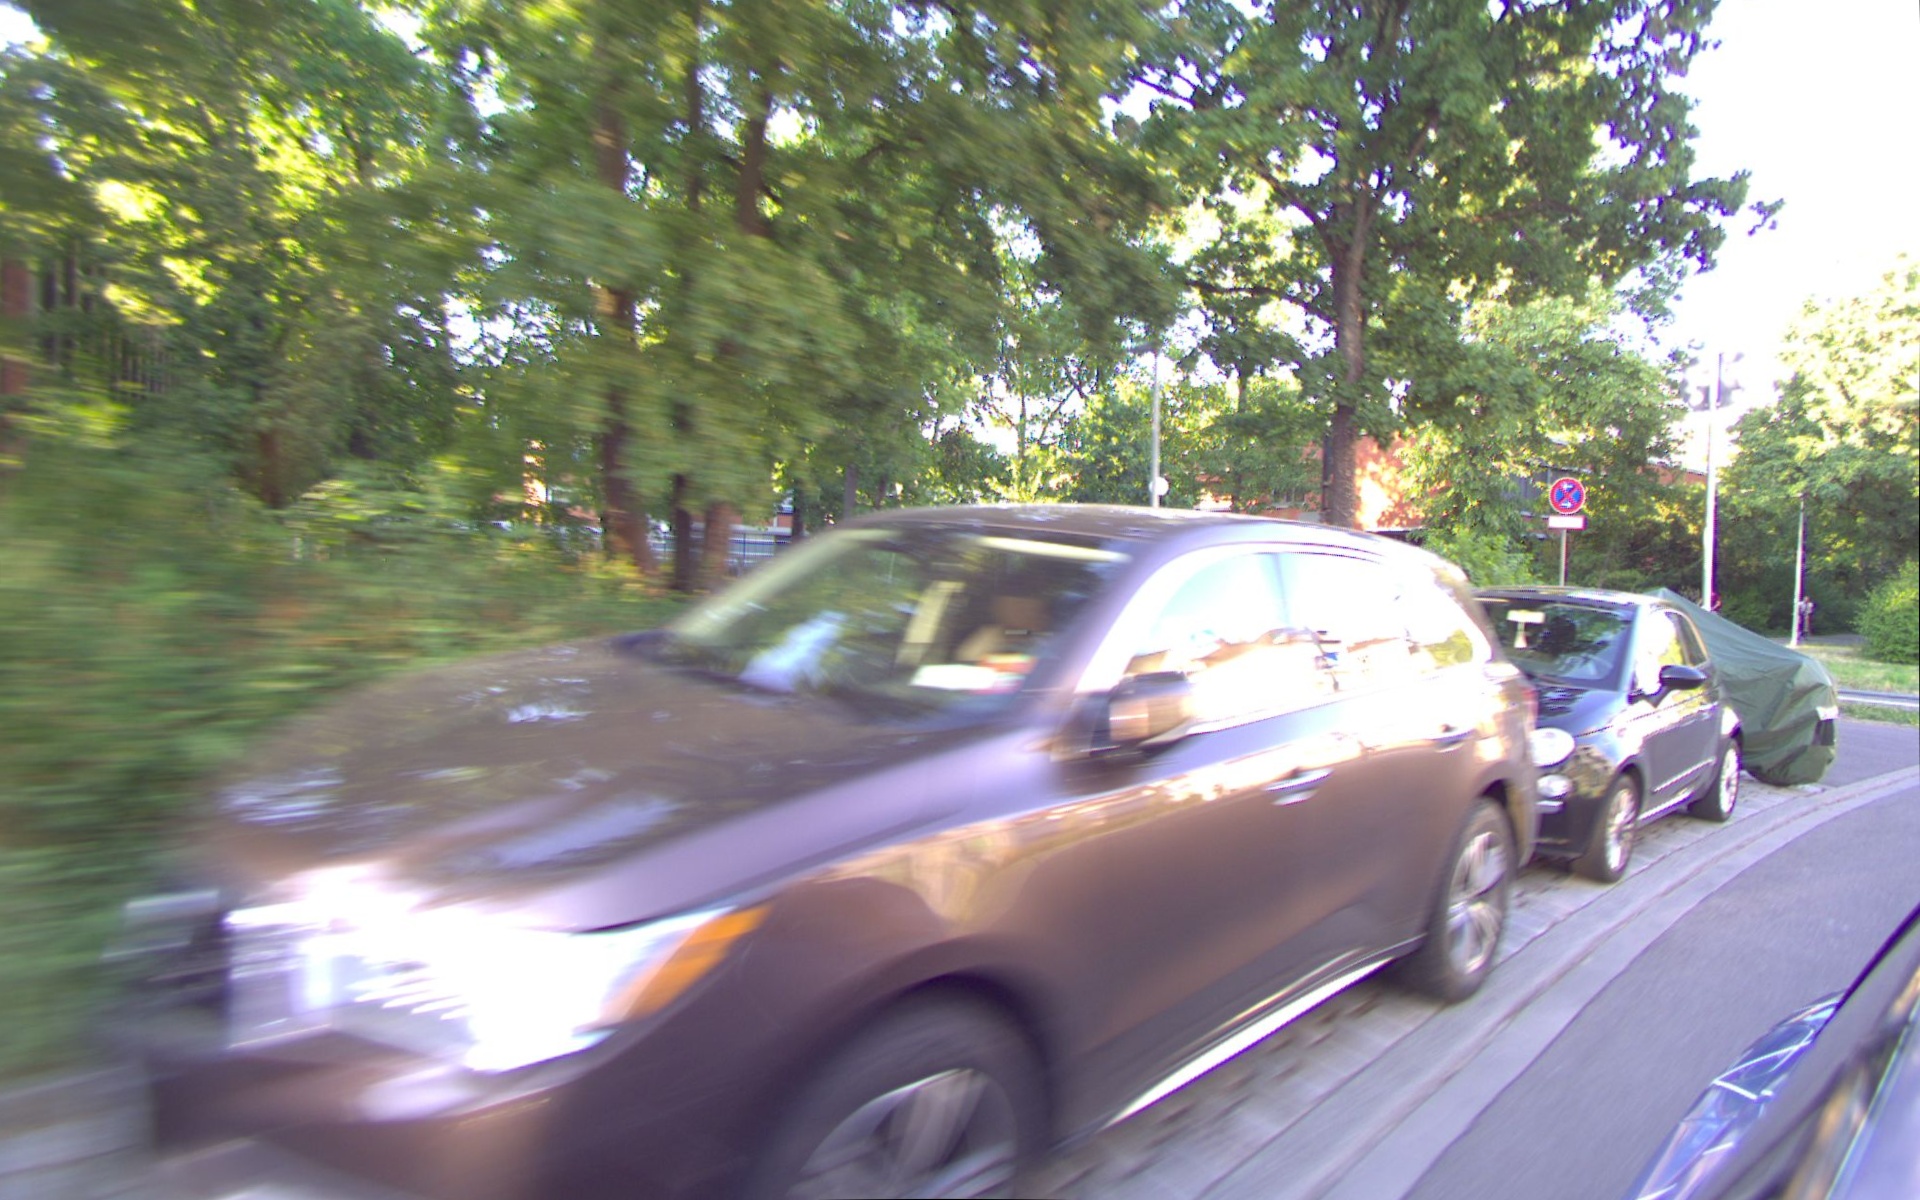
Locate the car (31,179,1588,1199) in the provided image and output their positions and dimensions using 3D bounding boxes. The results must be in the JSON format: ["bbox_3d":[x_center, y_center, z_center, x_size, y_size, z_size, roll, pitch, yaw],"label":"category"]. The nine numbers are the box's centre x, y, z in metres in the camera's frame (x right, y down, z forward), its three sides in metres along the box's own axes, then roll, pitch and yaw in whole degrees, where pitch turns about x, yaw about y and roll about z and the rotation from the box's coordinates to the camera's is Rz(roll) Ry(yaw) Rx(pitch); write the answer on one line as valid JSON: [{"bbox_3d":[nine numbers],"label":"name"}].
[{"bbox_3d":[0.203,0.480,3.201,4.589,1.770,1.924,0,2,-44],"label":"car"}]

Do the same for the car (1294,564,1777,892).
[{"bbox_3d":[3.790,0.591,6.469,3.359,1.505,1.623,1,2,-41],"label":"car"}]

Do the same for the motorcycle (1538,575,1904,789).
[{"bbox_3d":[6.528,0.601,8.872,1.018,1.564,2.303,1,2,-27],"label":"motorcycle"}]

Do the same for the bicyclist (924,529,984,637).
[{"bbox_3d":[-0.097,-0.267,15.967,0.710,1.665,0.534,1,1,-35],"label":"bicyclist"}]
